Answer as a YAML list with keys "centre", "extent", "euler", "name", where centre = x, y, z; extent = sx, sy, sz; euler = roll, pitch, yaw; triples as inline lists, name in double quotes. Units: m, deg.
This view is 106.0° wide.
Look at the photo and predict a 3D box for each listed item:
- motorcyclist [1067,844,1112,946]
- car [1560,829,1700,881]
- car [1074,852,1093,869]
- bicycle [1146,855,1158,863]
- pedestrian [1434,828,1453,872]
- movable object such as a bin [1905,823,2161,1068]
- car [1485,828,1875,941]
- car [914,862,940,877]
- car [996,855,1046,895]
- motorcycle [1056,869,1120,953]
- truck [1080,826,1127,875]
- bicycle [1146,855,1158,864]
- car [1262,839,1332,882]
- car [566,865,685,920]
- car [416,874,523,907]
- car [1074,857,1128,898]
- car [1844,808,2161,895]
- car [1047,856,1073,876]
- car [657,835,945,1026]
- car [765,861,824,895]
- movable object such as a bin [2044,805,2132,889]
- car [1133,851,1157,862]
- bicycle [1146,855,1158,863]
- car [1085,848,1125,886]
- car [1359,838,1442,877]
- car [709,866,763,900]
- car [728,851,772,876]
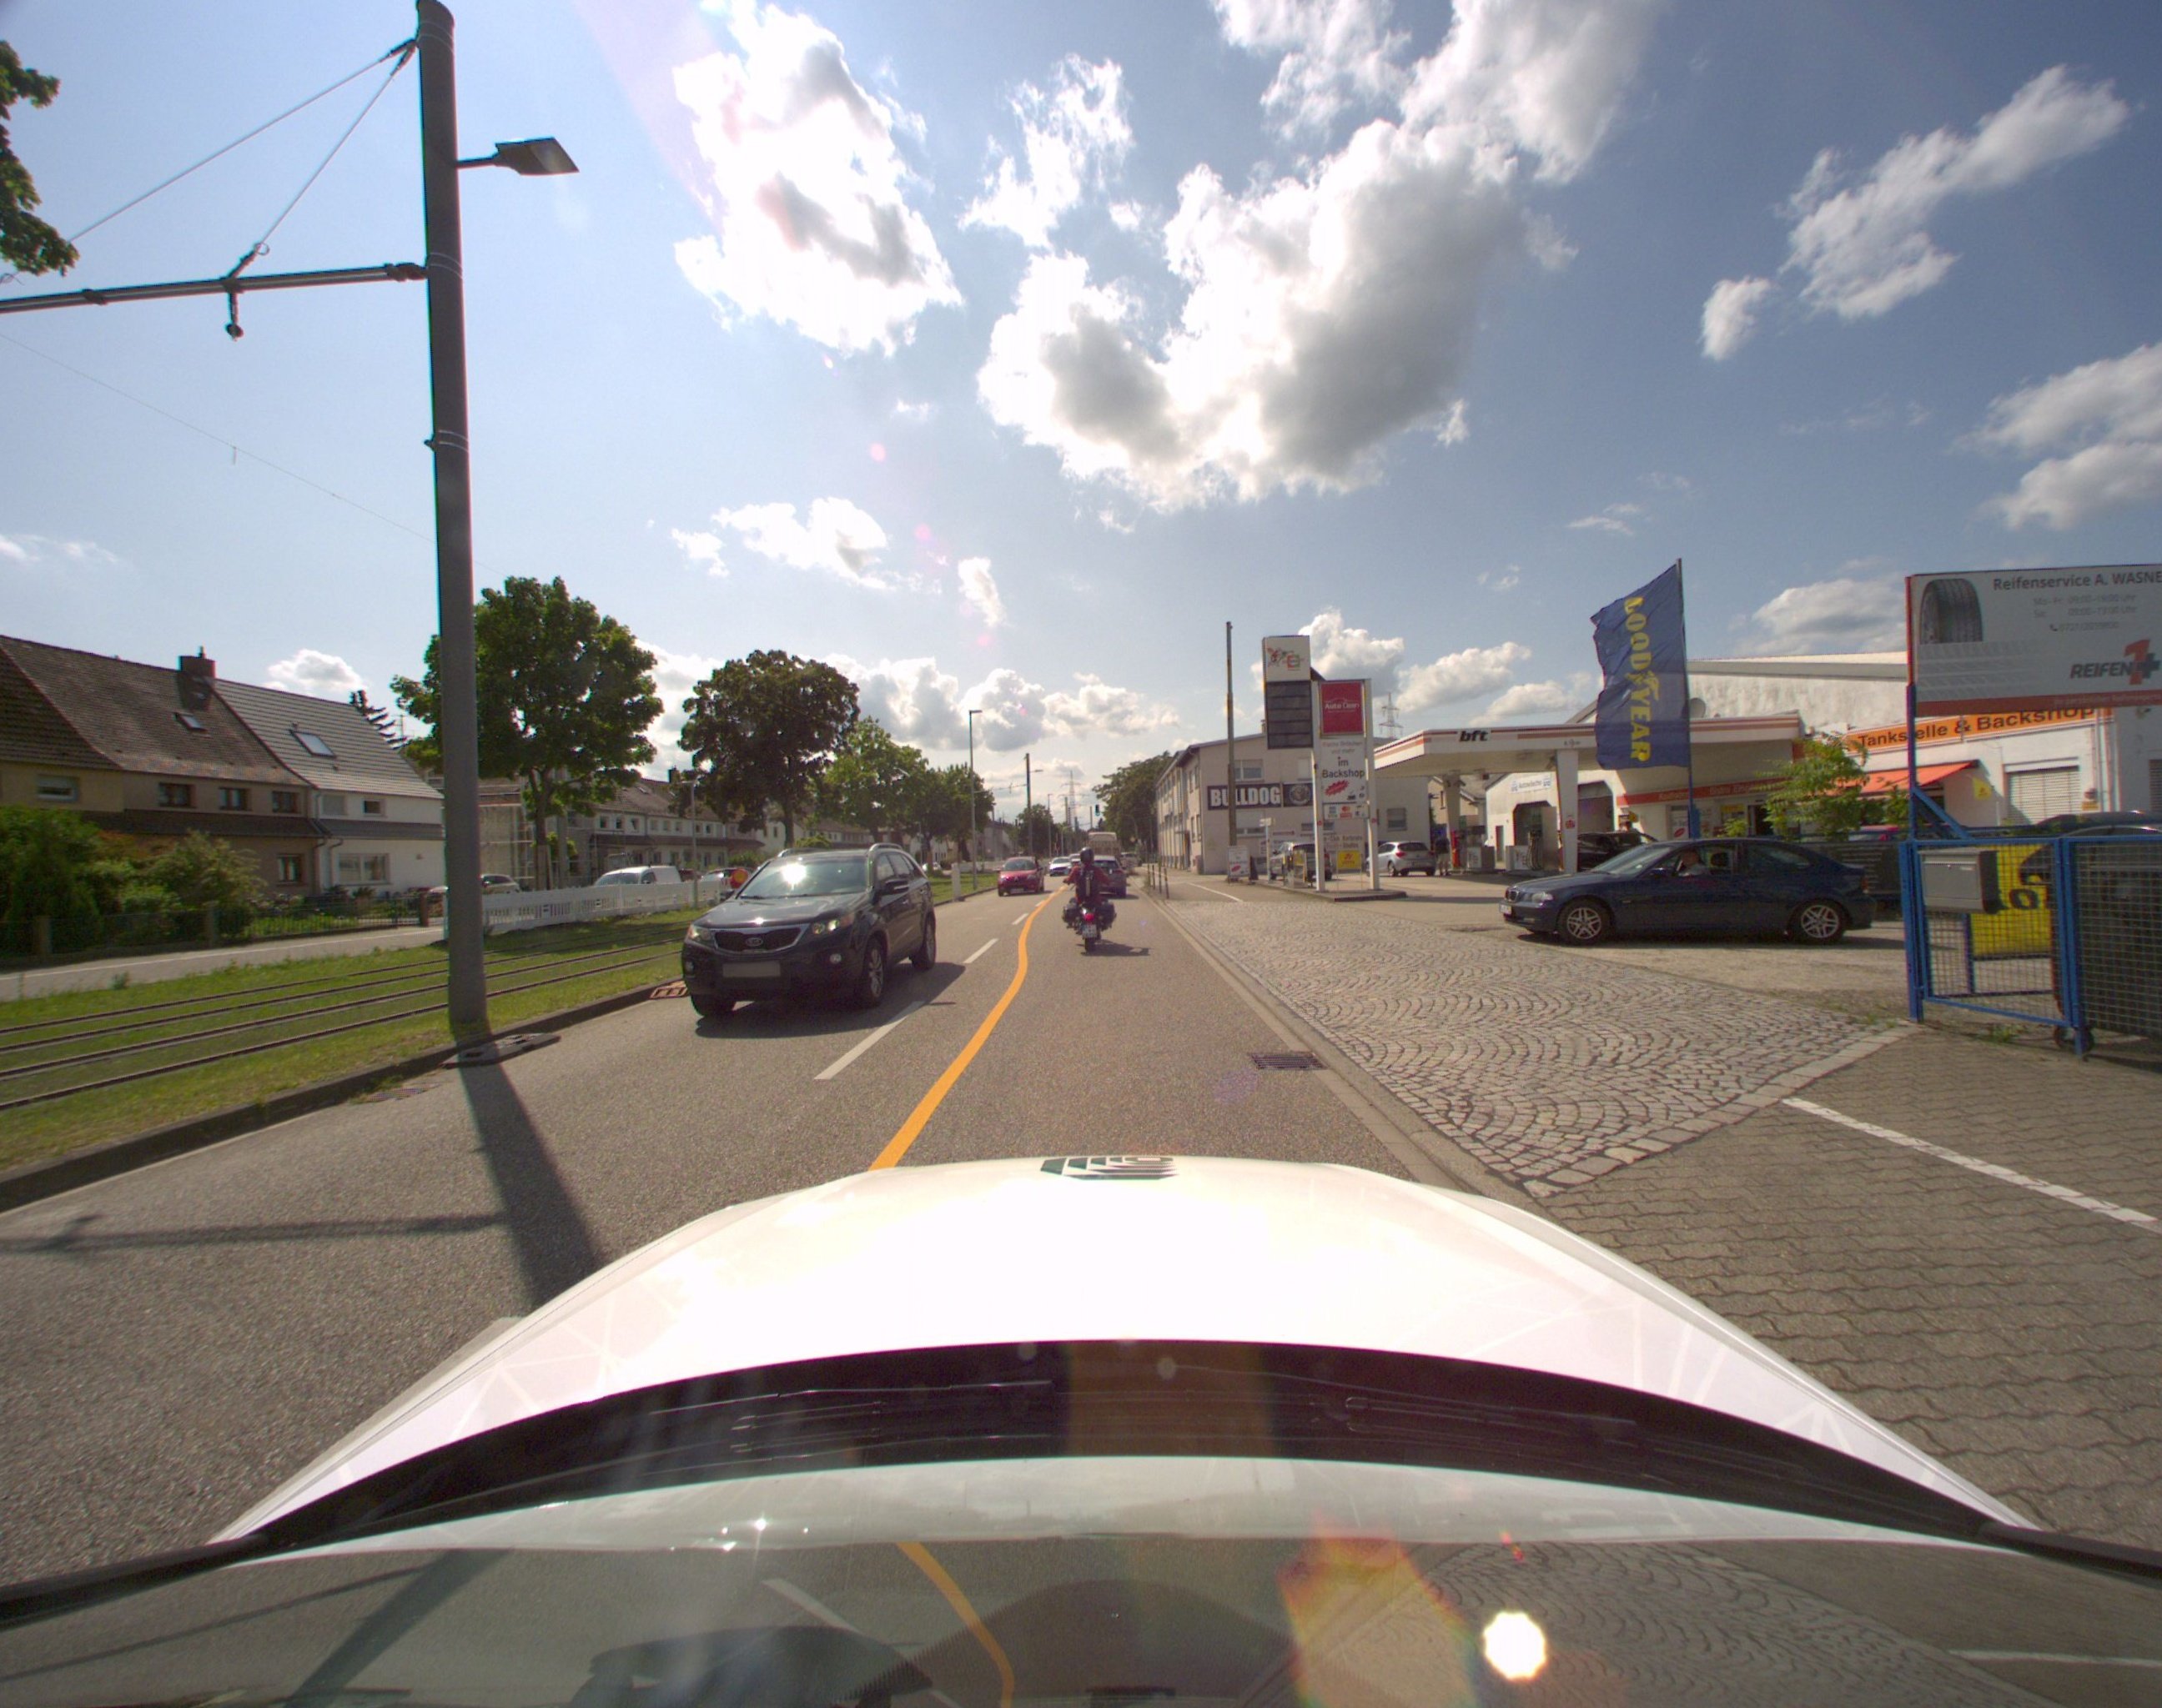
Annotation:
- centre: [0.147, 0.643, 13.163]
  extent: [0.695, 1.604, 0.692]
  euler: [0, -1, 2]
  name: "motorcyclist"
- centre: [17.964, -0.025, 26.917]
  extent: [1.676, 1.519, 4.495]
  euler: [-3, 1, 2]
  name: "car"
- centre: [0.306, 0.710, 86.775]
  extent: [1.818, 1.666, 4.463]
  euler: [-3, -1, 1]
  name: "car"
- centre: [10.098, 0.754, 115.346]
  extent: [1.698, 1.172, 0.439]
  euler: [0, -1, 6]
  name: "bicycle"
- centre: [14.711, -0.156, 33.045]
  extent: [0.495, 1.776, 0.577]
  euler: [0, -1, -1]
  name: "pedestrian"
- centre: [6.912, 0.502, 5.013]
  extent: [1.956, 1.347, 1.708]
  euler: [0, -1, 1]
  name: "movable object such as a bin"
- centre: [8.024, 0.427, 11.274]
  extent: [4.028, 1.408, 1.651]
  euler: [-1, -1, 9]
  name: "car"
- centre: [-13.980, 1.373, 74.105]
  extent: [1.516, 1.354, 3.623]
  euler: [0, -1, 2]
  name: "car"
- centre: [-2.385, 0.815, 33.148]
  extent: [1.572, 1.469, 3.722]
  euler: [-3, -1, 2]
  name: "car"
- centre: [0.147, 0.882, 13.432]
  extent: [0.939, 1.200, 2.473]
  euler: [0, 0, 2]
  name: "motorcycle"
- centre: [1.699, -0.190, 57.935]
  extent: [2.954, 3.173, 7.773]
  euler: [0, -1, 4]
  name: "truck"
- centre: [9.924, 0.755, 113.928]
  extent: [1.698, 1.172, 0.439]
  euler: [0, -1, 6]
  name: "bicycle"
- centre: [8.952, 0.252, 34.136]
  extent: [1.937, 1.625, 4.619]
  euler: [-1, 0, 3]
  name: "car"
- centre: [-15.444, 1.256, 27.843]
  extent: [1.647, 1.626, 4.002]
  euler: [-3, -1, 2]
  name: "car"
- centre: [-27.282, 1.583, 36.498]
  extent: [1.528, 1.275, 4.122]
  euler: [-3, -1, 2]
  name: "car"
- centre: [0.663, 0.806, 29.709]
  extent: [1.727, 1.403, 4.082]
  euler: [0, 0, -3]
  name: "car"
- centre: [18.059, -0.040, 16.119]
  extent: [4.118, 1.424, 1.772]
  euler: [-3, -1, 2]
  name: "car"
- centre: [-1.651, 0.919, 64.723]
  extent: [1.815, 1.445, 4.484]
  euler: [-3, -1, 1]
  name: "car"
- centre: [-2.984, 0.718, 9.764]
  extent: [1.790, 1.690, 4.223]
  euler: [-4, 0, 2]
  name: "car"
- centre: [-15.394, 1.272, 43.951]
  extent: [1.616, 1.651, 3.900]
  euler: [-3, -1, 2]
  name: "car"
- centre: [17.242, -0.118, 13.961]
  extent: [0.579, 1.391, 0.706]
  euler: [-2, 0, 0]
  name: "movable object such as a bin"
- centre: [10.566, 0.425, 134.289]
  extent: [4.022, 1.926, 1.781]
  euler: [0, -1, -43]
  name: "car"
- centre: [10.013, 0.725, 114.804]
  extent: [1.698, 1.172, 0.439]
  euler: [0, -1, 6]
  name: "bicycle"
- centre: [1.254, 0.602, 41.853]
  extent: [1.894, 1.712, 4.722]
  euler: [-2, 1, 2]
  name: "car"
- centre: [13.516, 0.161, 34.719]
  extent: [1.687, 1.471, 4.421]
  euler: [-3, -1, -1]
  name: "car"
- centre: [-15.033, 1.249, 35.558]
  extent: [1.067, 1.348, 2.452]
  euler: [-3, -1, 5]
  name: "car"
- centre: [-27.825, 0.822, 68.566]
  extent: [1.986, 2.014, 4.001]
  euler: [0, -1, 1]
  name: "car"
